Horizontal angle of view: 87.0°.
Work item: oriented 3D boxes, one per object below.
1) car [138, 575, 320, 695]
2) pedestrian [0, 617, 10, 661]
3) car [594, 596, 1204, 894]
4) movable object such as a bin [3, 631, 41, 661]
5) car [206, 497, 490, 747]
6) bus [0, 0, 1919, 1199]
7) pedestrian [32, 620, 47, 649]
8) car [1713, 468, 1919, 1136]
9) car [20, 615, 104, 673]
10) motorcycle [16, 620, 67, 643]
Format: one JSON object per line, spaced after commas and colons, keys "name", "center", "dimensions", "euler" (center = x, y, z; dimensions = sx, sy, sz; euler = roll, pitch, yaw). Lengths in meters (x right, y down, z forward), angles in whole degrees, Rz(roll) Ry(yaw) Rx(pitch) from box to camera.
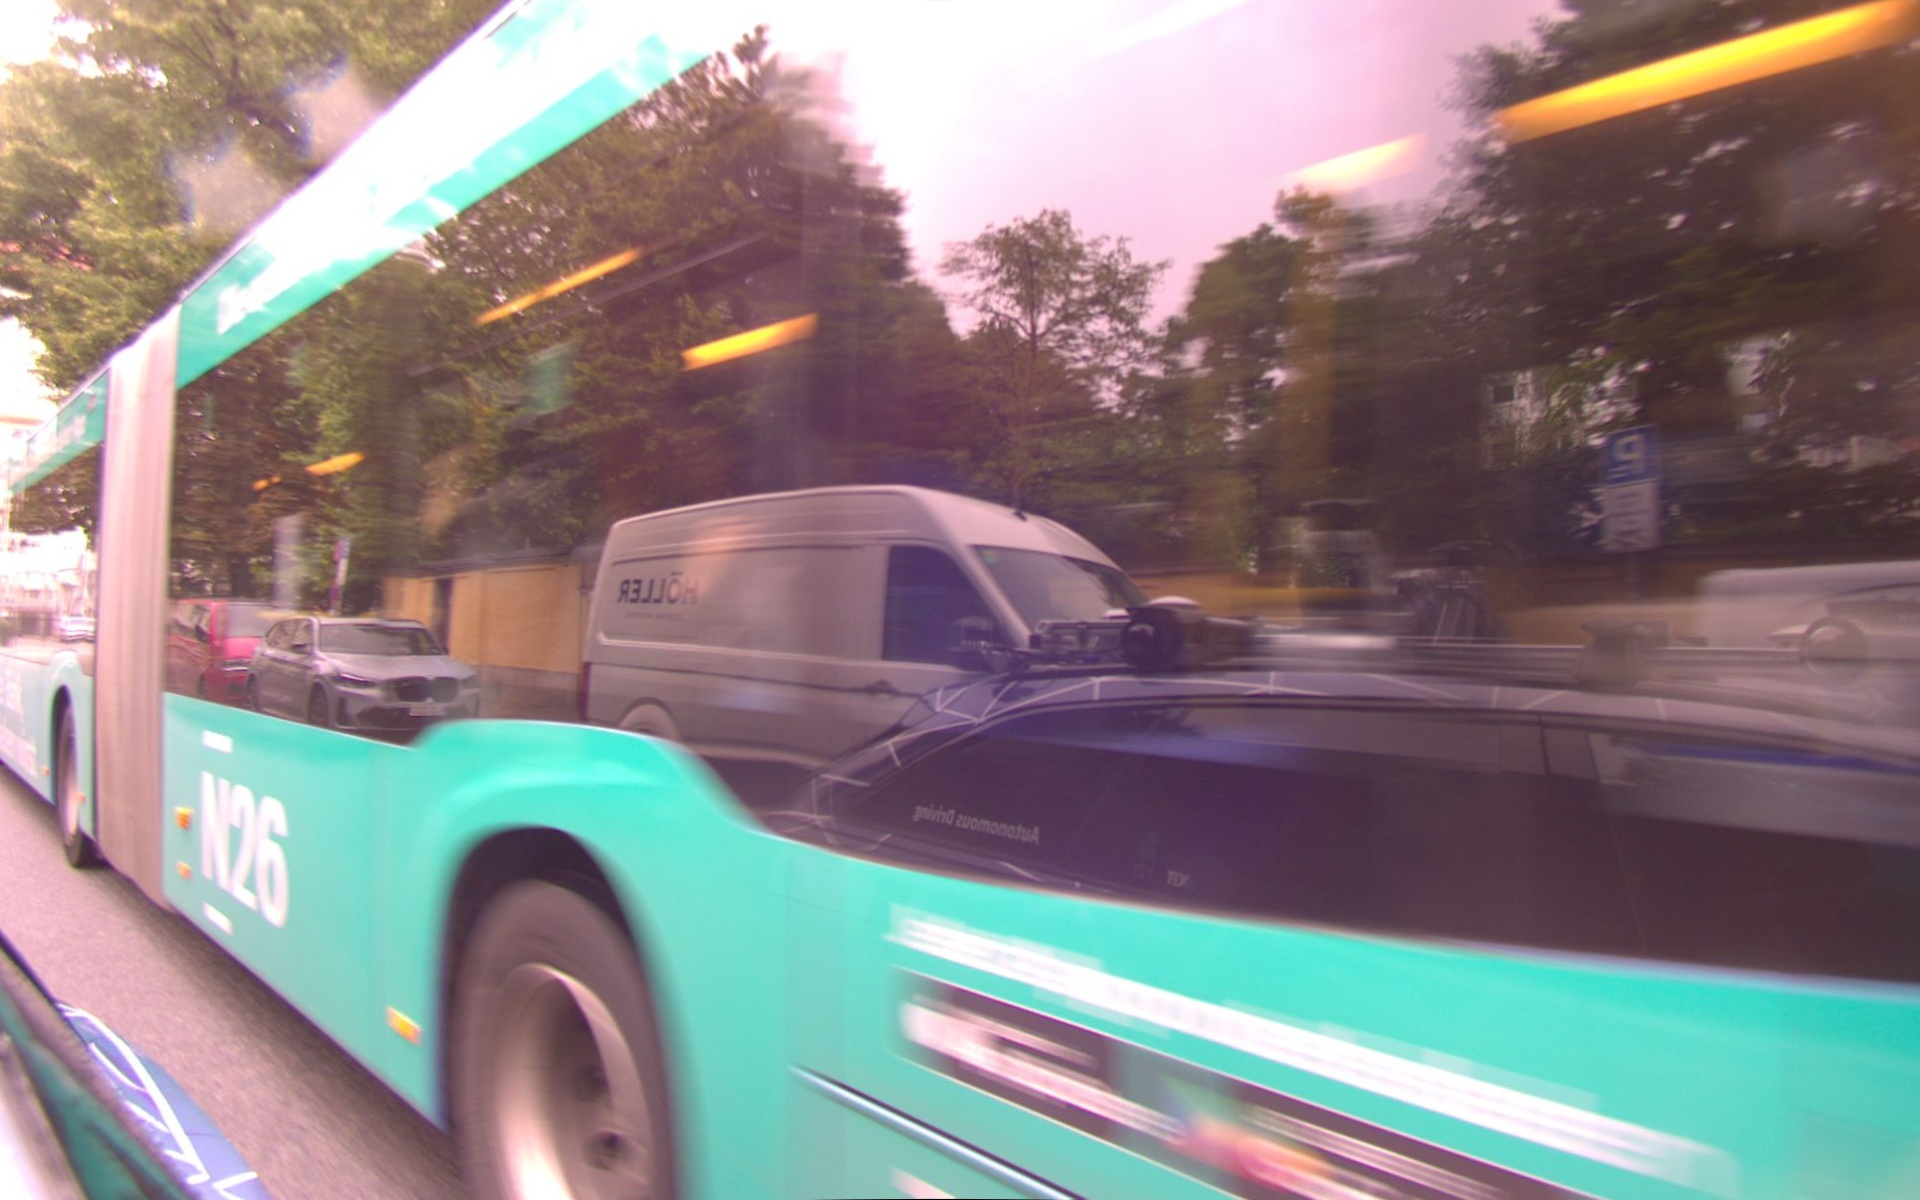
{"name": "car", "center": [-16.444, 0.770, 22.646], "dimensions": [5.405, 2.366, 2.092], "euler": [-2, -2, 41]}
{"name": "pedestrian", "center": [-36.211, 1.466, 37.857], "dimensions": [0.592, 1.631, 0.853], "euler": [0, -1, 34]}
{"name": "car", "center": [-0.733, 0.786, 7.196], "dimensions": [1.769, 1.449, 4.554], "euler": [2, -3, -45]}
{"name": "movable object such as a bin", "center": [-35.824, 1.735, 38.642], "dimensions": [0.776, 1.092, 0.890], "euler": [0, -1, 34]}
{"name": "car", "center": [-8.984, 0.265, 14.529], "dimensions": [6.238, 2.876, 1.923], "euler": [0, -1, 44]}
{"name": "bus", "center": [-3.714, 0.004, 6.312], "dimensions": [18.420, 3.264, 2.829], "euler": [0, -1, 42]}
{"name": "pedestrian", "center": [-54.274, 2.036, 59.681], "dimensions": [0.597, 1.677, 0.464], "euler": [1, -1, -36]}
{"name": "car", "center": [4.658, 0.573, 2.363], "dimensions": [4.545, 1.891, 1.765], "euler": [-1, -2, 41]}
{"name": "car", "center": [-30.905, 1.447, 34.780], "dimensions": [1.858, 1.781, 5.062], "euler": [2, -1, -45]}
{"name": "motorcycle", "center": [-54.725, 1.886, 60.322], "dimensions": [2.212, 1.336, 0.824], "euler": [2, -1, -43]}
